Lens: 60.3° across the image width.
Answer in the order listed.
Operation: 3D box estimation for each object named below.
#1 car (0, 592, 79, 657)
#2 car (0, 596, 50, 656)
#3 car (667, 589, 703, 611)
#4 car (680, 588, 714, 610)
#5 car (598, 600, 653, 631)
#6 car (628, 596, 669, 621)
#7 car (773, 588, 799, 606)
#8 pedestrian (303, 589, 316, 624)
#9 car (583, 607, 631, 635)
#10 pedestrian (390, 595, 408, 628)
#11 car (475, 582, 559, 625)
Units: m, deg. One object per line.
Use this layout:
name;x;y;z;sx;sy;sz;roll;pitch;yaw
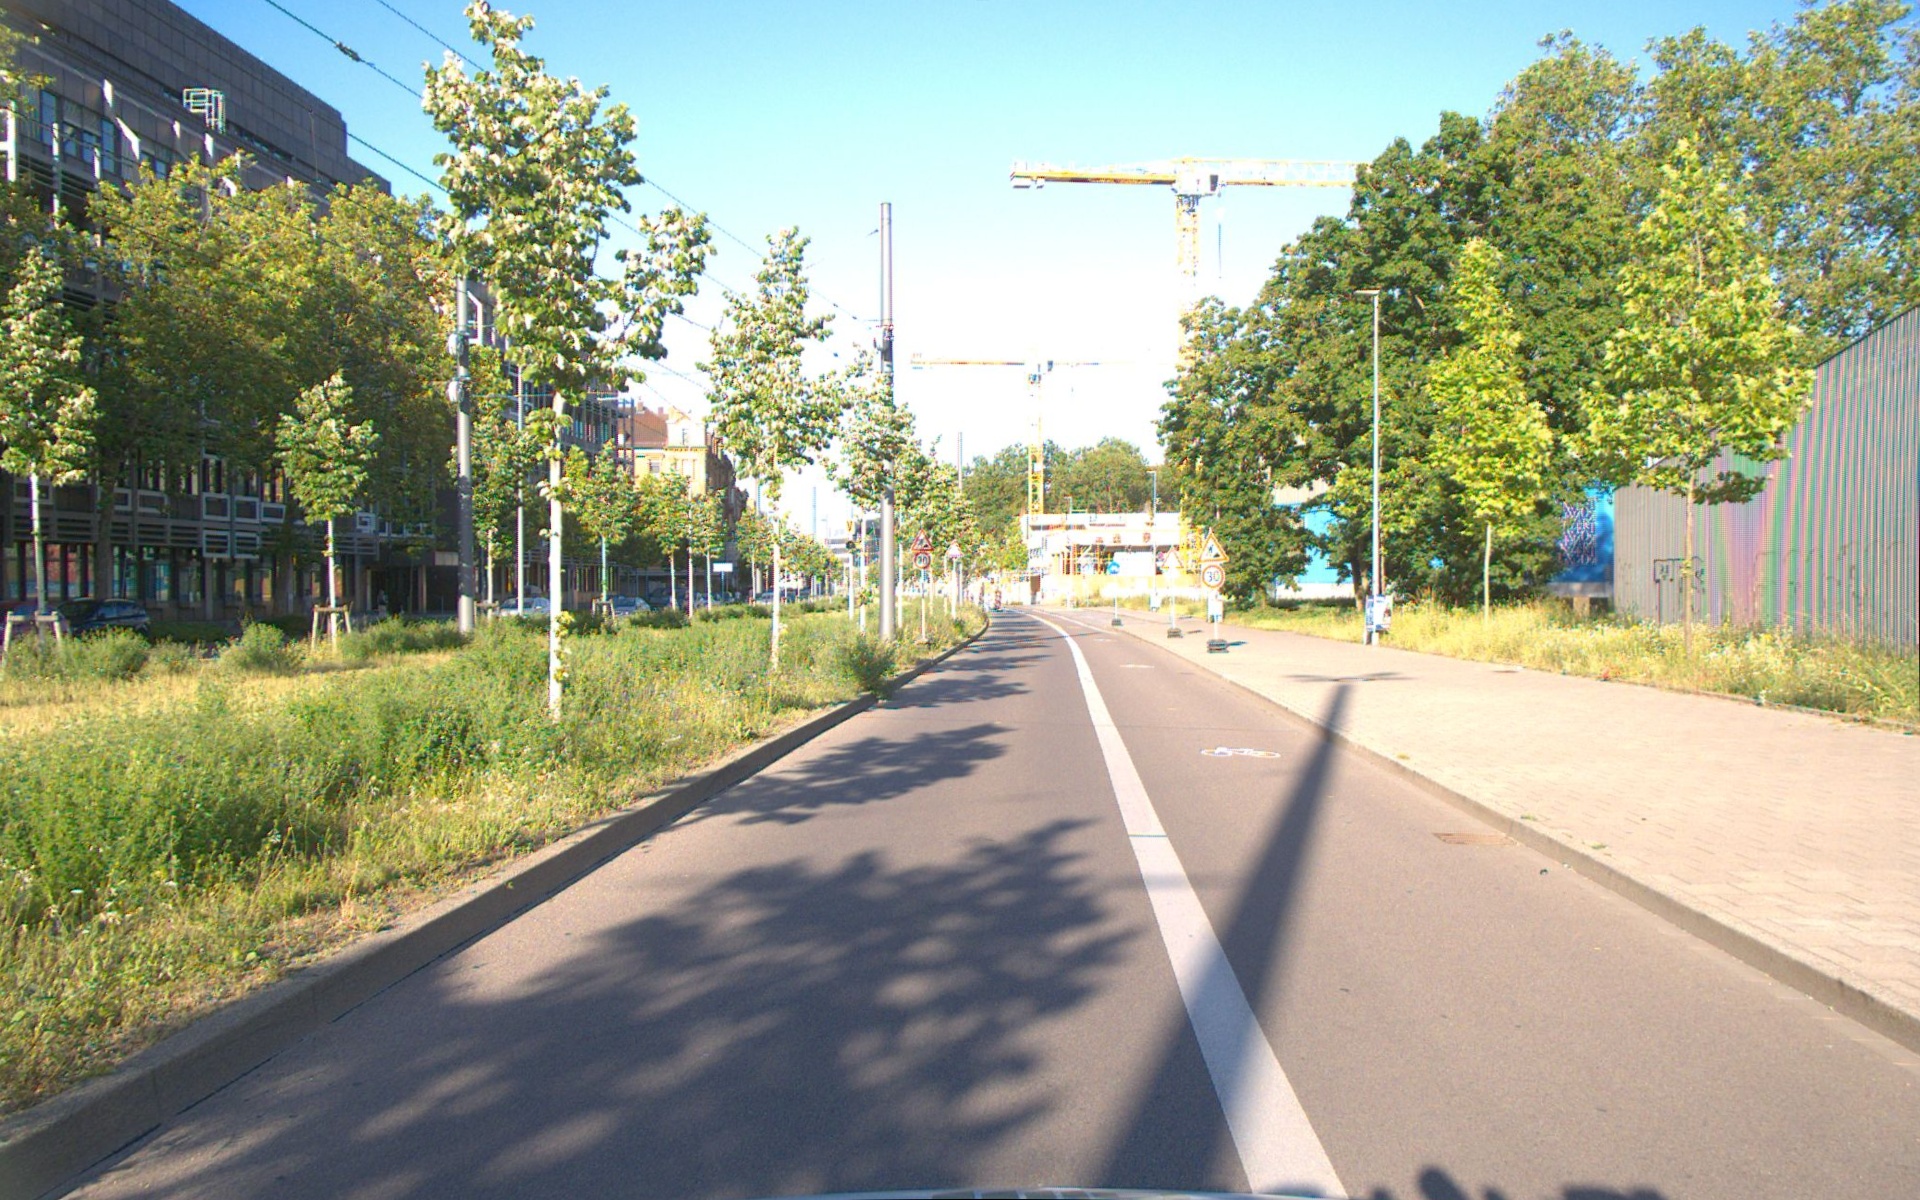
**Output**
car;-22.869;0.608;39.490;1.676;1.478;3.575;-3;0;-1
car;-27.569;0.773;45.875;1.870;1.661;4.365;-2;0;5
car;-20.740;-0.010;124.777;1.864;1.603;4.302;-1;0;1
car;-20.736;-0.090;130.582;1.864;1.603;4.302;-1;0;1
car;-17.893;0.824;88.580;1.721;1.542;4.585;-1;0;3
car;-21.508;0.589;114.304;1.864;1.603;4.302;-1;0;1
car;-16.547;-0.283;157.367;1.864;1.603;4.411;-1;0;1
pedestrian;-29.694;0.281;75.514;0.400;1.589;0.447;-1;0;4
car;-21.314;1.246;99.959;1.864;1.603;4.302;-1;0;1
pedestrian;-26.891;0.538;79.291;0.651;1.559;0.648;-1;0;-7
car;-18.051;0.128;67.627;1.801;1.622;4.696;-2;1;4
